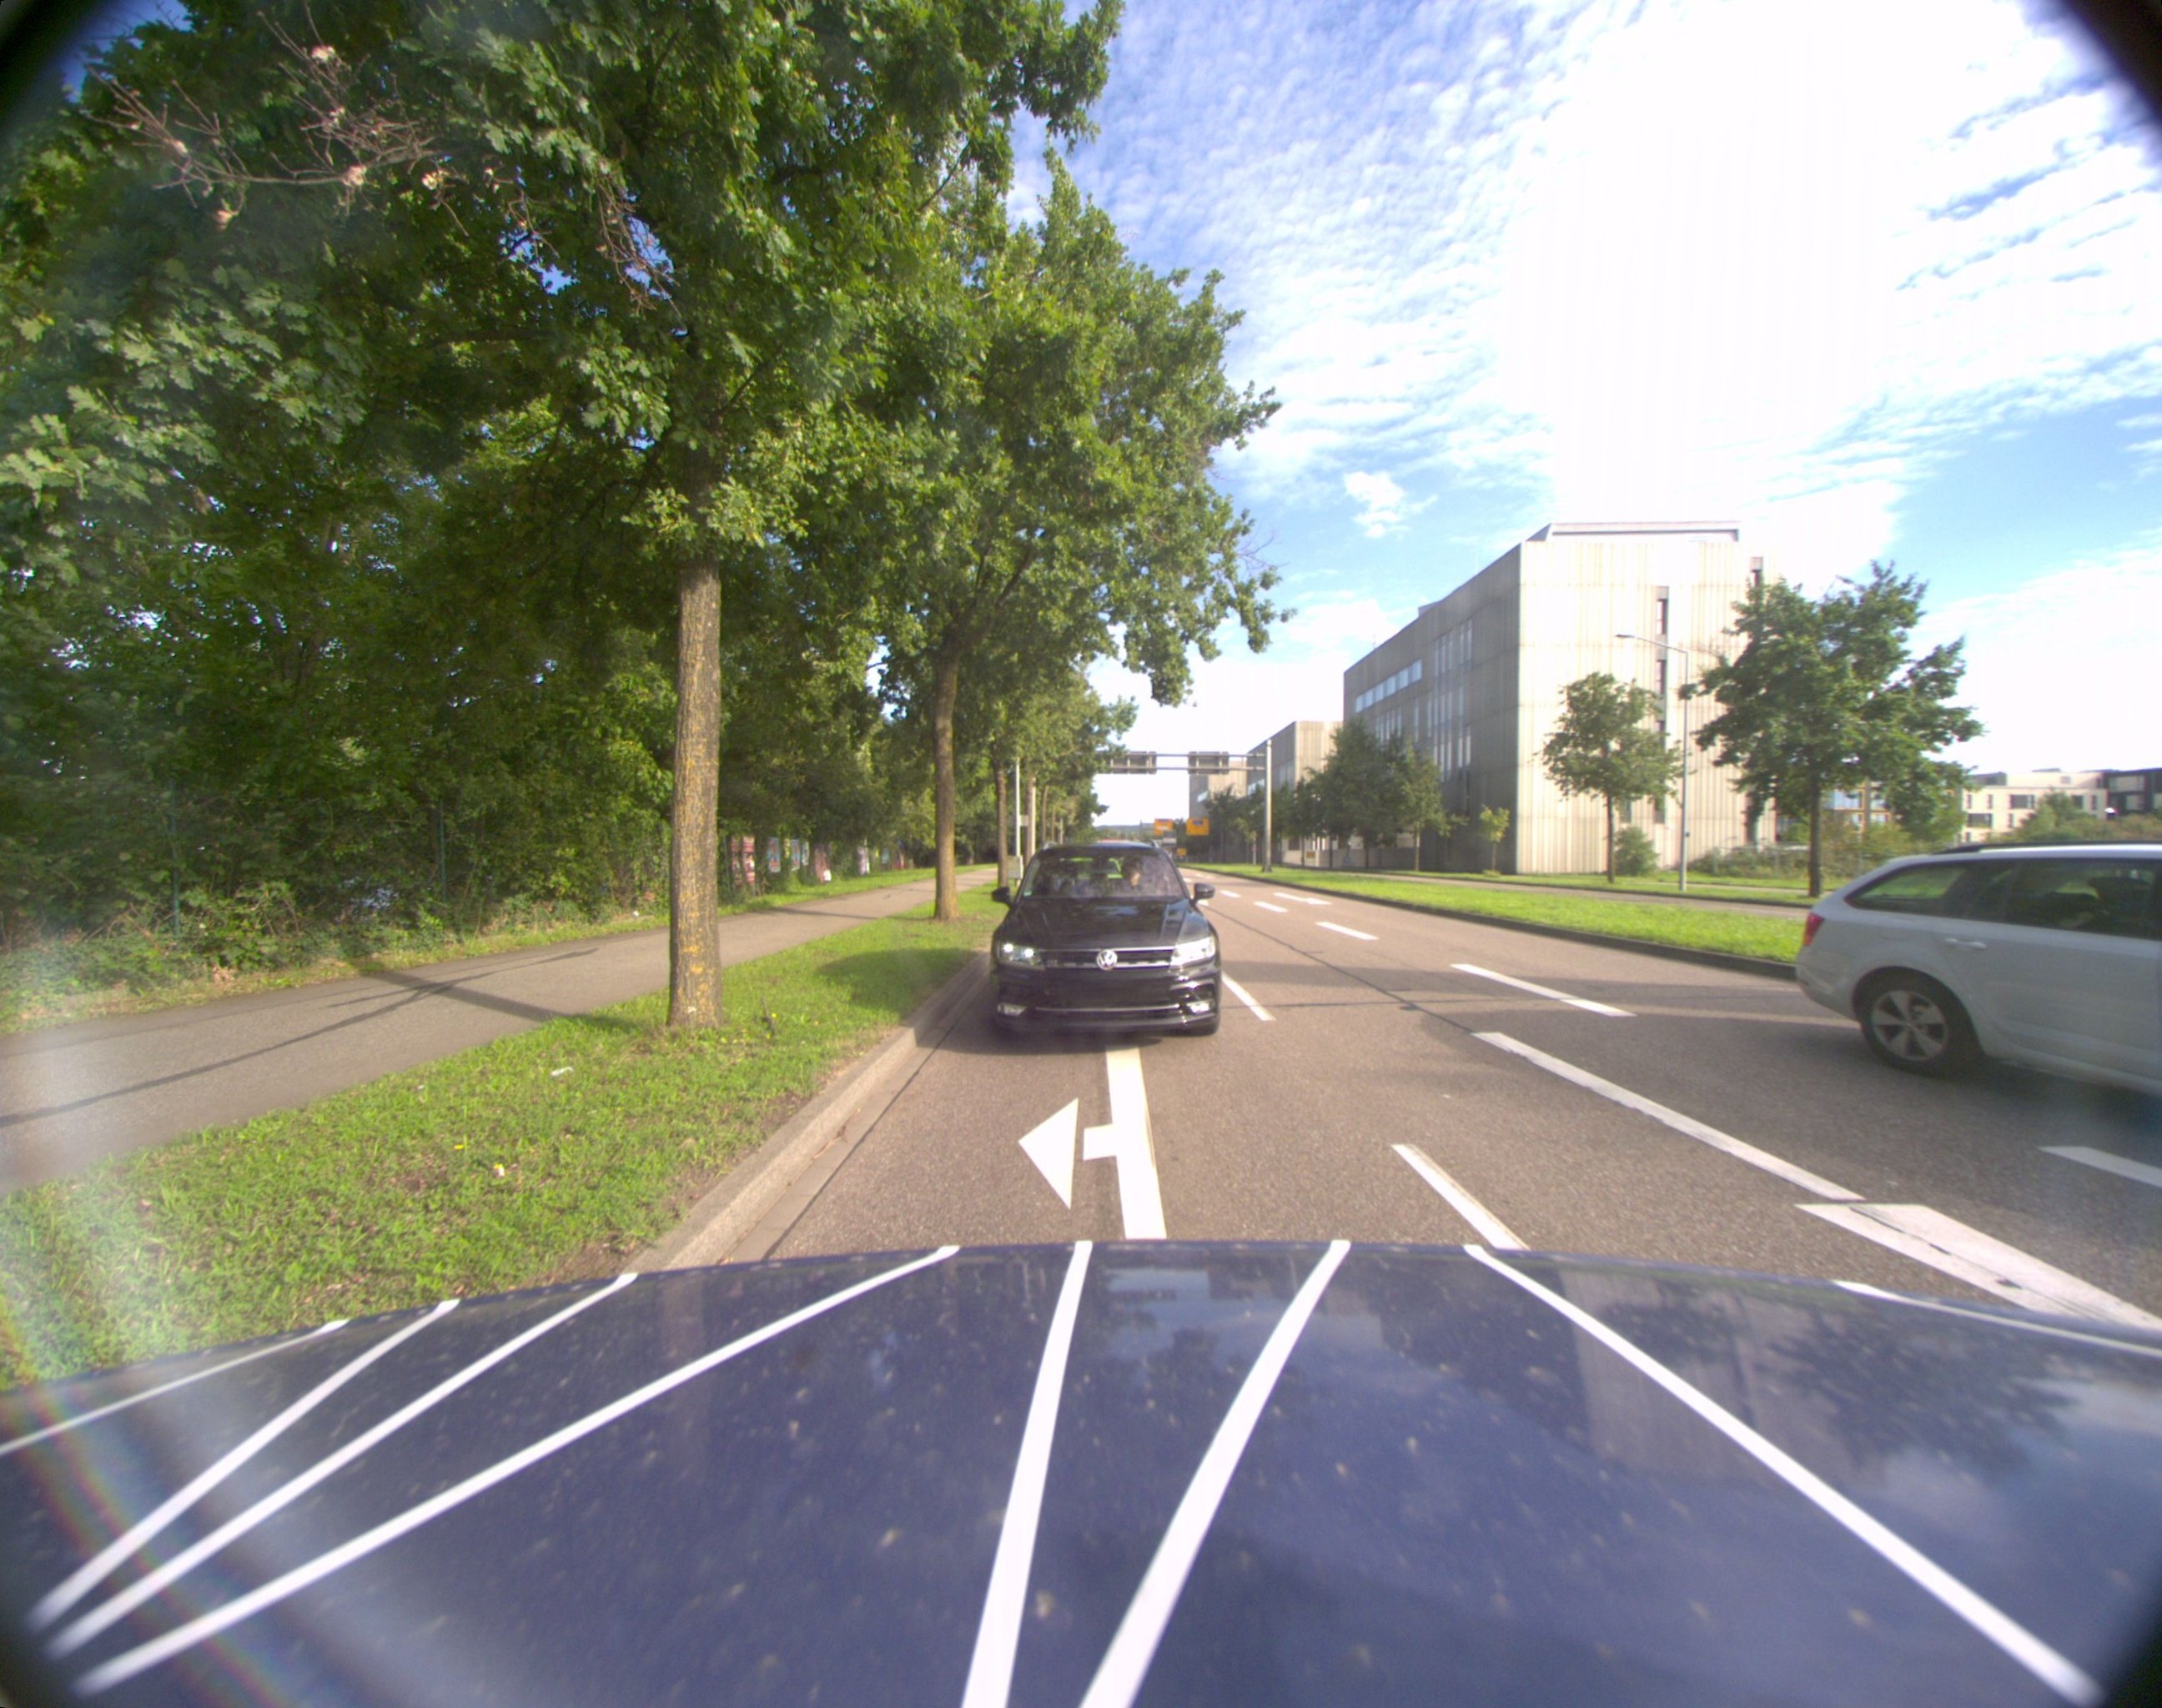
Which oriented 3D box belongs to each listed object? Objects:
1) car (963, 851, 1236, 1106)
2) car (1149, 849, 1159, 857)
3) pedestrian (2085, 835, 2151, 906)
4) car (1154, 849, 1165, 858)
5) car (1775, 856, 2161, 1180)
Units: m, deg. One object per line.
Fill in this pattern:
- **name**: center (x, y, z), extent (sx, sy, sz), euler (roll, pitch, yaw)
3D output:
- **car**: center (0.177, 0.824, 6.978), extent (1.775, 1.637, 3.868), euler (-1, 1, 2)
- **car**: center (17.852, -0.297, 185.252), extent (1.998, 2.002, 3.983), euler (0, 0, 0)
- **pedestrian**: center (29.685, 0.456, 21.767), extent (0.676, 2.002, 0.867), euler (0, 1, 0)
- **car**: center (17.095, -0.083, 166.379), extent (1.998, 2.002, 4.000), euler (0, 0, 0)
- **car**: center (5.983, 0.798, 3.398), extent (1.702, 1.490, 4.481), euler (-1, 1, 1)
